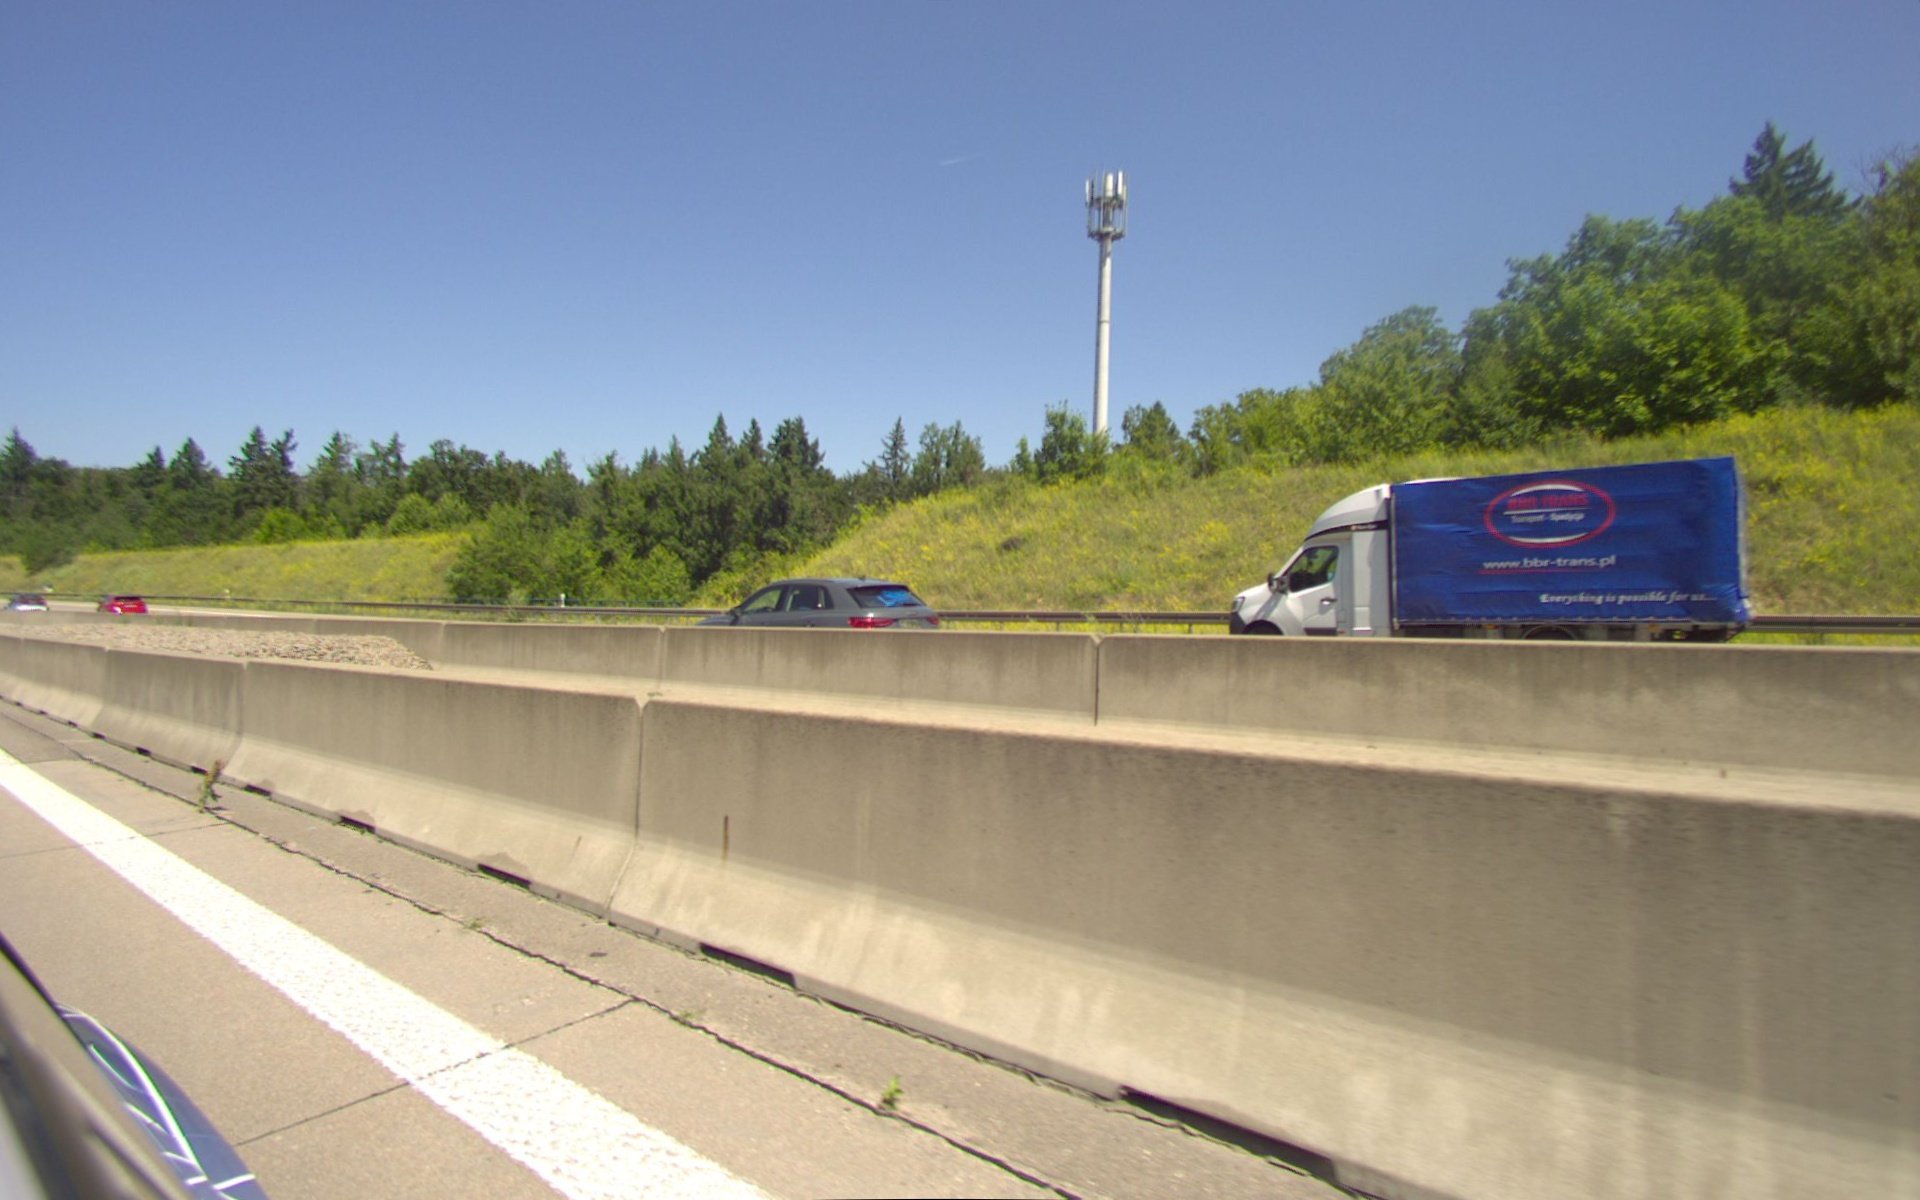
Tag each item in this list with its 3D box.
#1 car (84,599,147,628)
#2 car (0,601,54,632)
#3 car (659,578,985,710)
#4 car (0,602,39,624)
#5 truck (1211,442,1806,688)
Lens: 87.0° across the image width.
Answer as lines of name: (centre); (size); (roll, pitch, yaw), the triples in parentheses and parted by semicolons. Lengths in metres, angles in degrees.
car: (-50.030, 0.788, 59.926); (4.406, 1.617, 1.975); (-1, 0, 38)
car: (-52.409, 0.904, 56.528); (4.406, 1.617, 1.975); (-1, 0, 38)
car: (-2.091, 0.548, 14.582); (4.652, 1.617, 1.975); (-1, 0, 38)
car: (-70.272, 0.962, 75.257); (4.406, 1.617, 1.975); (-1, 0, 38)
truck: (8.138, -0.409, 15.892); (7.828, 3.011, 2.536); (-1, 0, 40)
